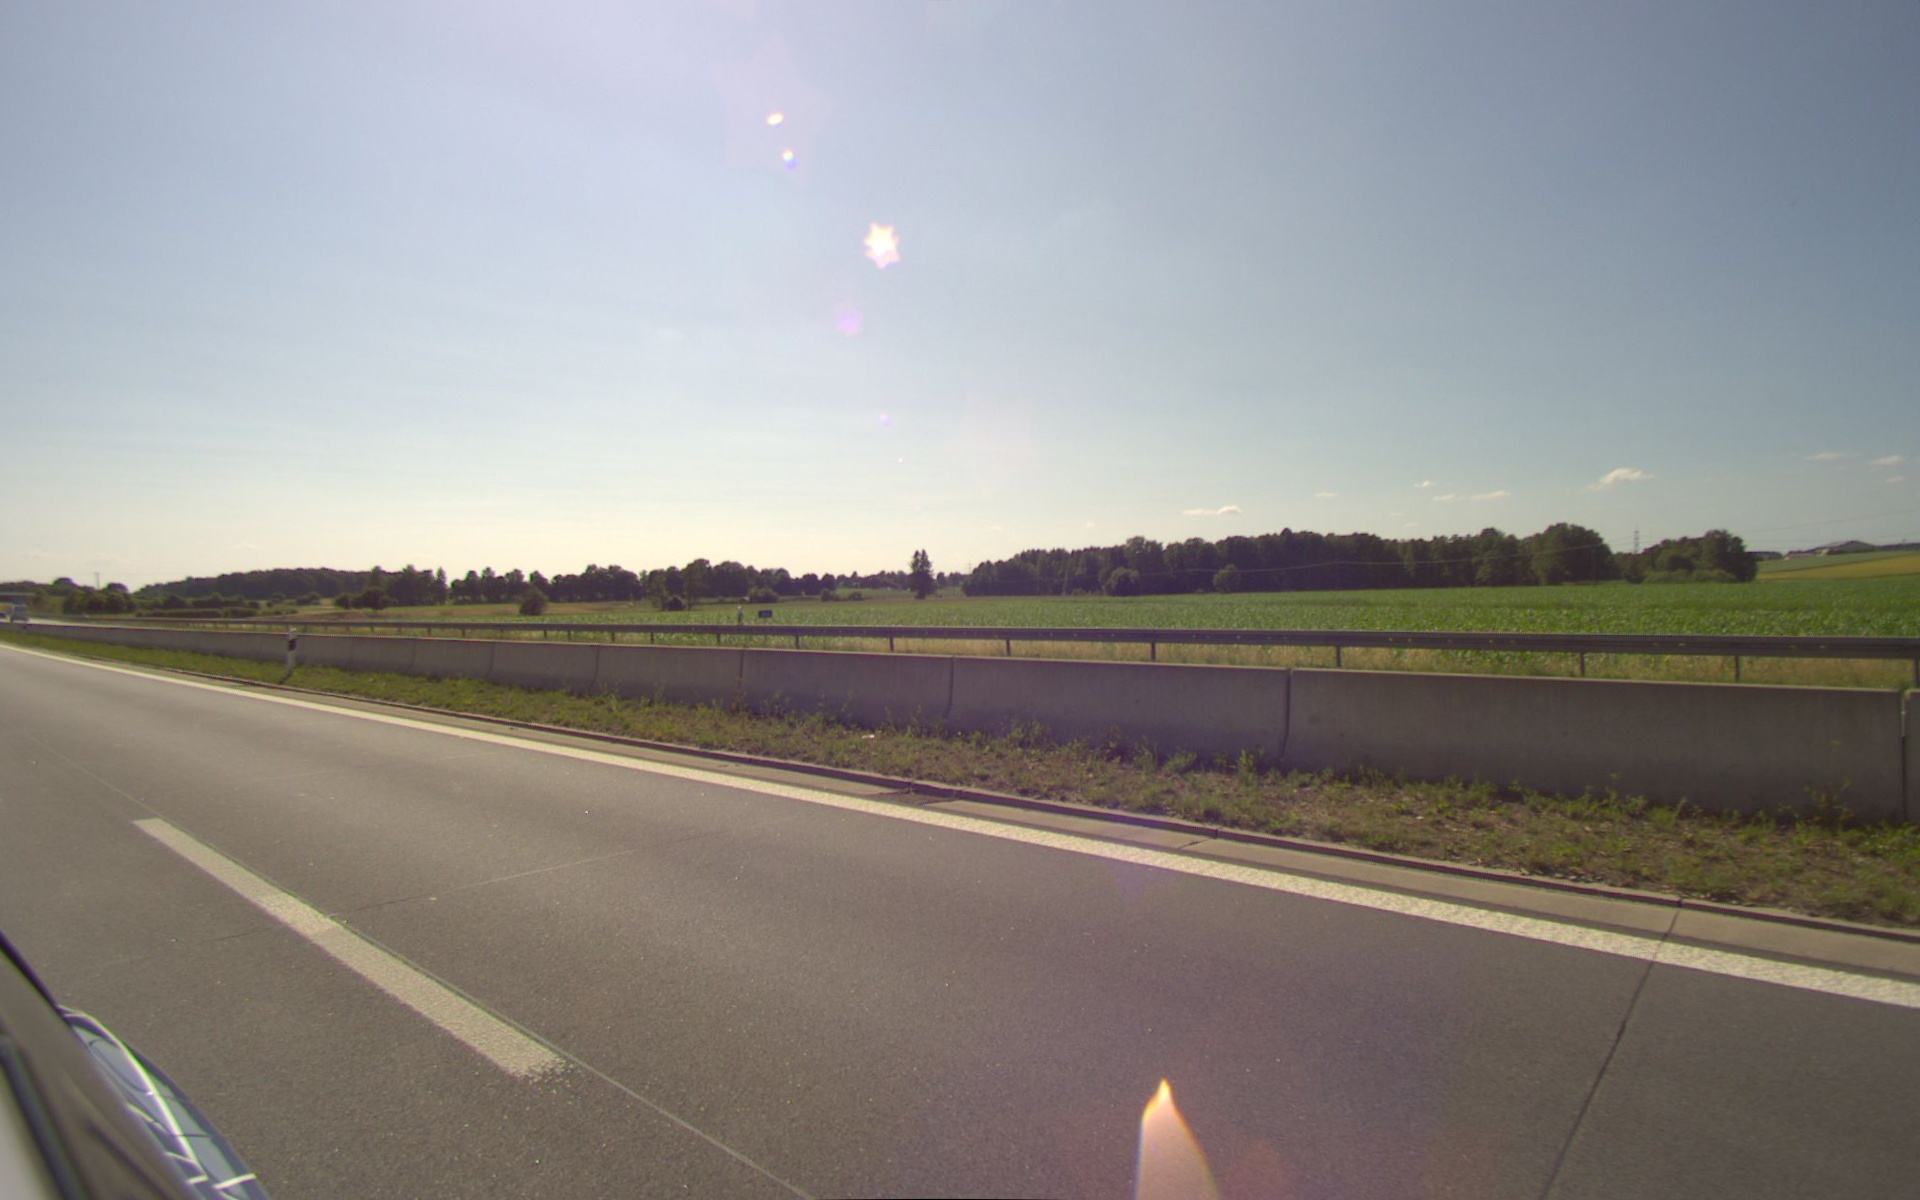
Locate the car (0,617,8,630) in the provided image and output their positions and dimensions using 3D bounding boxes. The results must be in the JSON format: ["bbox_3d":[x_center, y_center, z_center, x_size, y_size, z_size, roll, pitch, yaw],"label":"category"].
[{"bbox_3d":[-180.618,4.432,190.123,5.456,2.261,2.359,-2,-2,44],"label":"car"}]

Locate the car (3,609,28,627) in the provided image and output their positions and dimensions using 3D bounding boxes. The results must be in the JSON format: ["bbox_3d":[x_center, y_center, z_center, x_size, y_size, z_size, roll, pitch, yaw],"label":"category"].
[{"bbox_3d":[-143.201,2.710,153.461,5.453,2.578,2.361,-2,-2,42],"label":"car"}]
